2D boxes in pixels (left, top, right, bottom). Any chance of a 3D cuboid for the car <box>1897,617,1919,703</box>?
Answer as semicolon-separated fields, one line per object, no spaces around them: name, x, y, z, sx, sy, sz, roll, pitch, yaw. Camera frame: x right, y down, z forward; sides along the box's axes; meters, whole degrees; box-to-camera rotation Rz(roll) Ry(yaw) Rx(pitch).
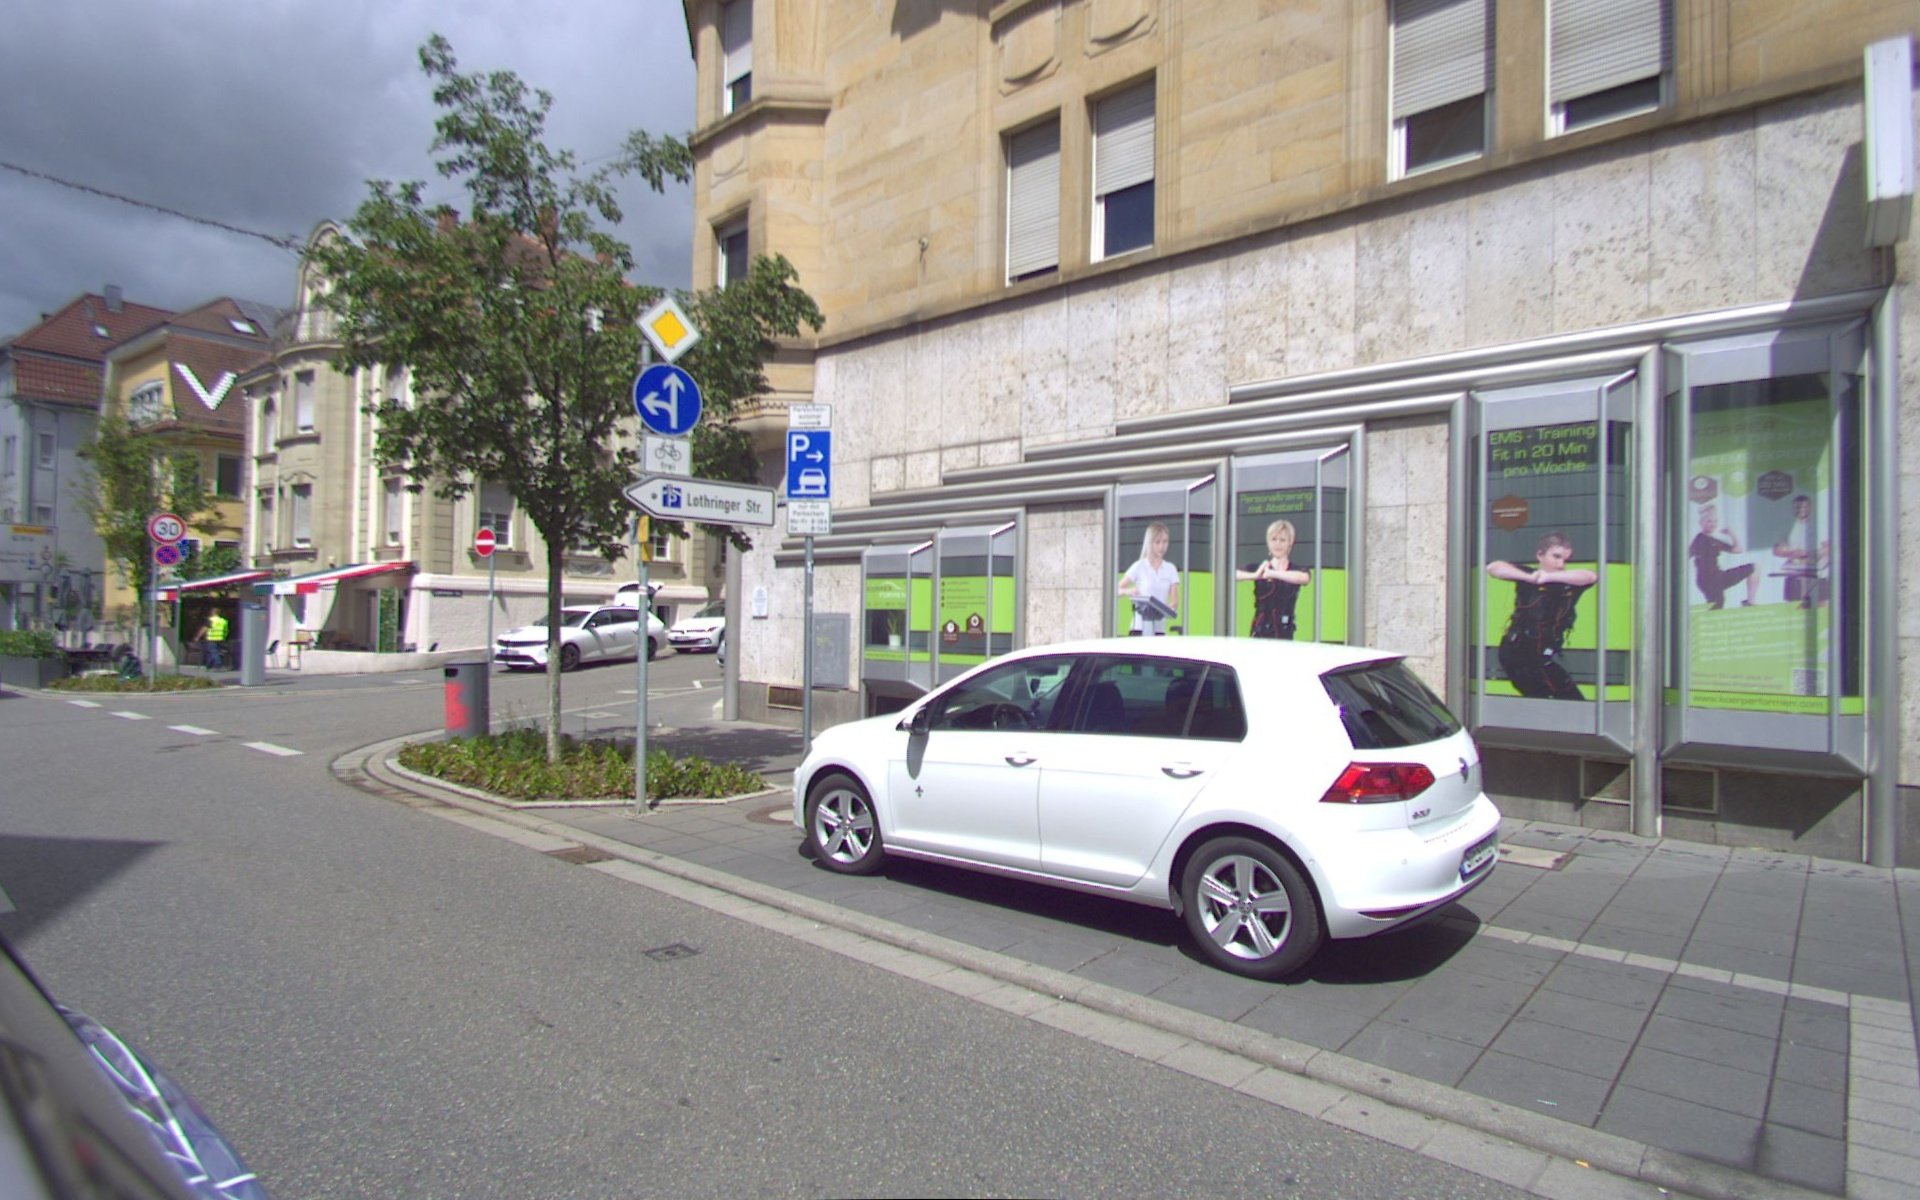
car;16.119;0.980;15.594;1.931;1.342;3.952;0;0;35

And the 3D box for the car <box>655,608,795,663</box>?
car;-6.746;0.975;29.489;1.821;1.391;4.198;0;1;24

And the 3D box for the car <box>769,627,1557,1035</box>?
car;0.930;0.910;5.756;4.033;1.408;1.827;0;0;40

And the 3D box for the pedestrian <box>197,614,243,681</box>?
pedestrian;-20.093;1.279;27.476;0.810;1.770;0.792;0;0;33

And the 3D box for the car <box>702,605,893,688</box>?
car;-3.539;0.951;22.748;1.994;1.573;4.172;0;1;32

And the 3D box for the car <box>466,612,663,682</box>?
car;-9.352;1.058;24.317;1.986;1.391;4.356;0;1;22
